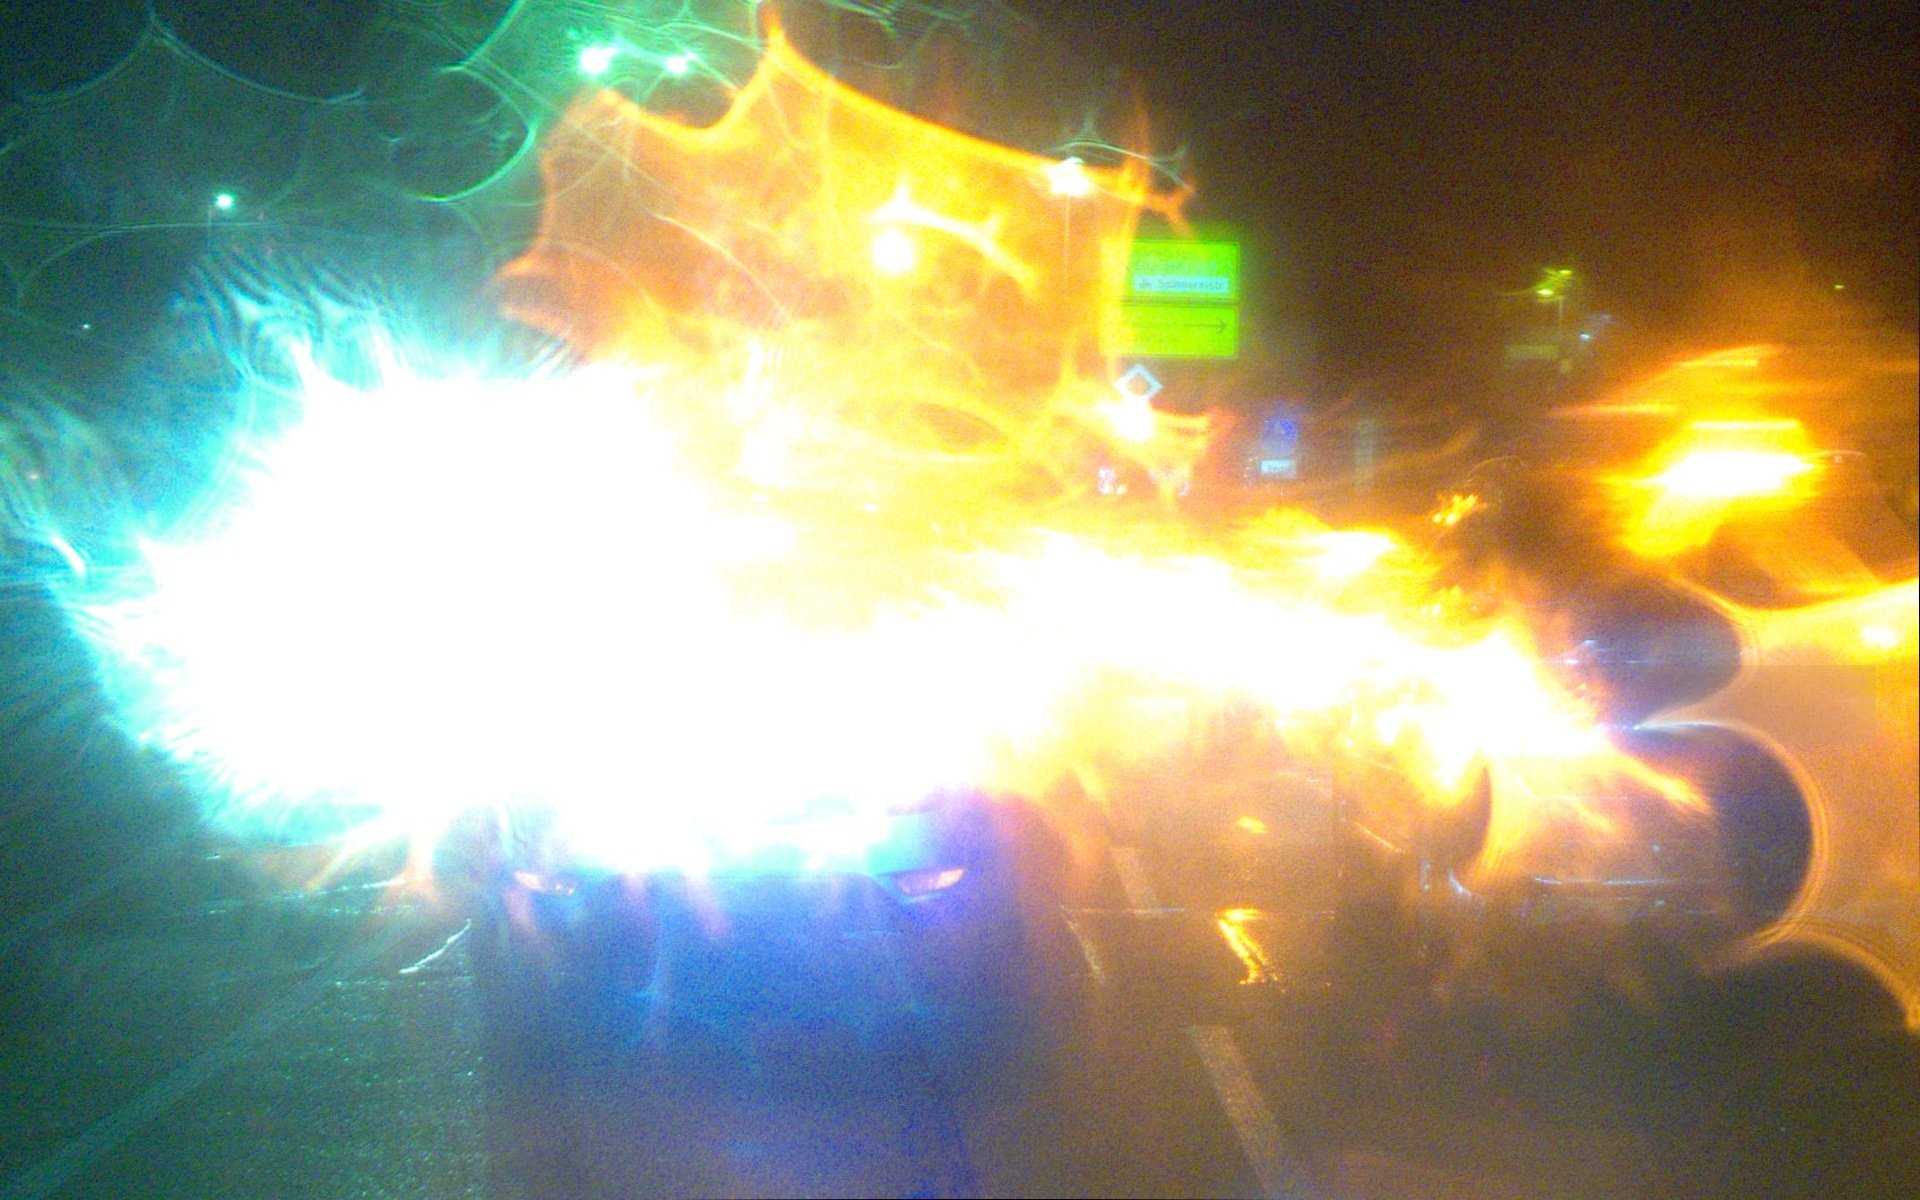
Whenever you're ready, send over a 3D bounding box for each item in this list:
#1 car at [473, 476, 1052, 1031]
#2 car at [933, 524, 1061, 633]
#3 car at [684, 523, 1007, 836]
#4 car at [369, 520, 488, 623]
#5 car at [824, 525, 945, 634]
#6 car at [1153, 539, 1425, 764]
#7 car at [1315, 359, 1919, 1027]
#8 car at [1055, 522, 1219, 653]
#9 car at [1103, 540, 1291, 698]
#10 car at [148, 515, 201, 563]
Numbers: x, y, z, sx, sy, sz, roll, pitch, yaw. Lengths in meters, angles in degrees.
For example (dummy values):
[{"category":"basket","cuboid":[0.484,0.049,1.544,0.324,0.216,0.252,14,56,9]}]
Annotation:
[{"category":"car","cuboid":[-0.600,0.428,12.065,1.694,1.624,3.853,0,1,0]},{"category":"car","cuboid":[0.471,-0.308,47.415,1.663,1.445,4.050,0,1,-1]},{"category":"car","cuboid":[-0.619,0.390,20.450,1.708,1.632,3.731,-1,2,0]},{"category":"car","cuboid":[-10.232,-0.587,66.457,1.993,1.905,4.744,0,1,-6]},{"category":"car","cuboid":[-1.237,-0.357,54.736,1.708,1.632,3.731,-2,2,-4]},{"category":"car","cuboid":[2.301,0.306,24.936,1.768,1.445,4.218,0,2,3]},{"category":"car","cuboid":[2.411,0.217,12.229,1.942,1.965,4.218,0,2,1]},{"category":"car","cuboid":[2.032,-0.188,40.405,1.663,1.445,4.050,0,2,-1]},{"category":"car","cuboid":[2.276,0.151,33.860,1.663,1.445,4.050,-1,1,2]},{"category":"car","cuboid":[-32.107,-2.507,140.635,1.993,1.905,4.744,0,1,-11]}]
